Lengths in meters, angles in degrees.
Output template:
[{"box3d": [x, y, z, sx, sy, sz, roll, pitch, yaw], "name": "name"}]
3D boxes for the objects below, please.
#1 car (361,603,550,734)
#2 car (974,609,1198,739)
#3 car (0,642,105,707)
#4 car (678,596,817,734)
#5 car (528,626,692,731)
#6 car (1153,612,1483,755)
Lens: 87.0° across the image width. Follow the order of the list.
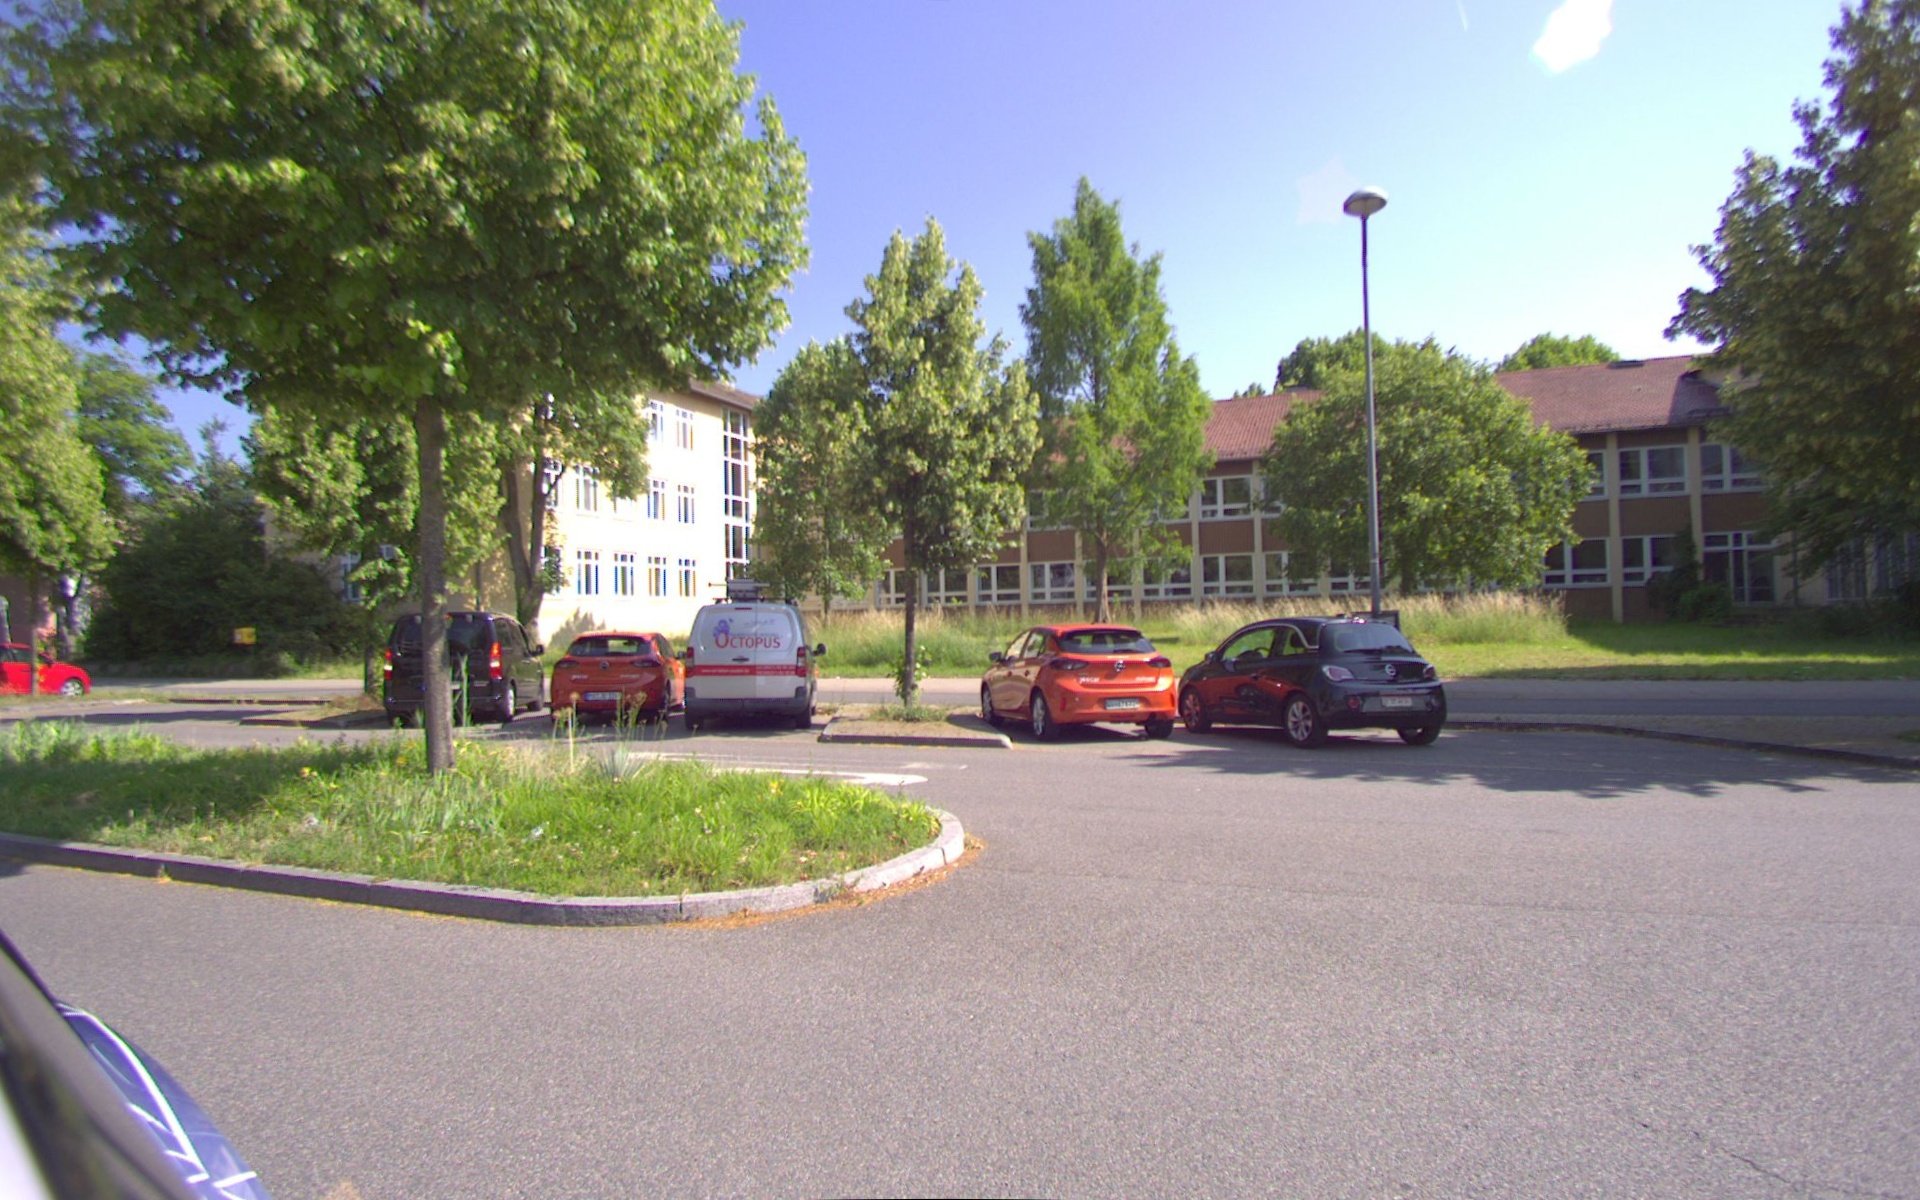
[{"box3d": [-8.163, 1.071, 16.791, 1.970, 1.830, 4.200, -1, -2, -15], "name": "car"}, {"box3d": [1.486, 0.881, 13.460, 1.687, 1.434, 3.852, -1, -1, -13], "name": "car"}, {"box3d": [-23.080, 1.782, 24.125, 1.973, 1.478, 3.997, -2, -3, 2], "name": "car"}, {"box3d": [-3.114, 0.905, 15.388, 1.790, 1.785, 3.781, -1, -1, -8], "name": "car"}, {"box3d": [-5.519, 1.195, 16.424, 1.826, 1.438, 3.781, -2, -2, -8], "name": "car"}, {"box3d": [4.089, 0.921, 12.282, 1.824, 1.434, 3.786, 0, -2, -18], "name": "car"}]
